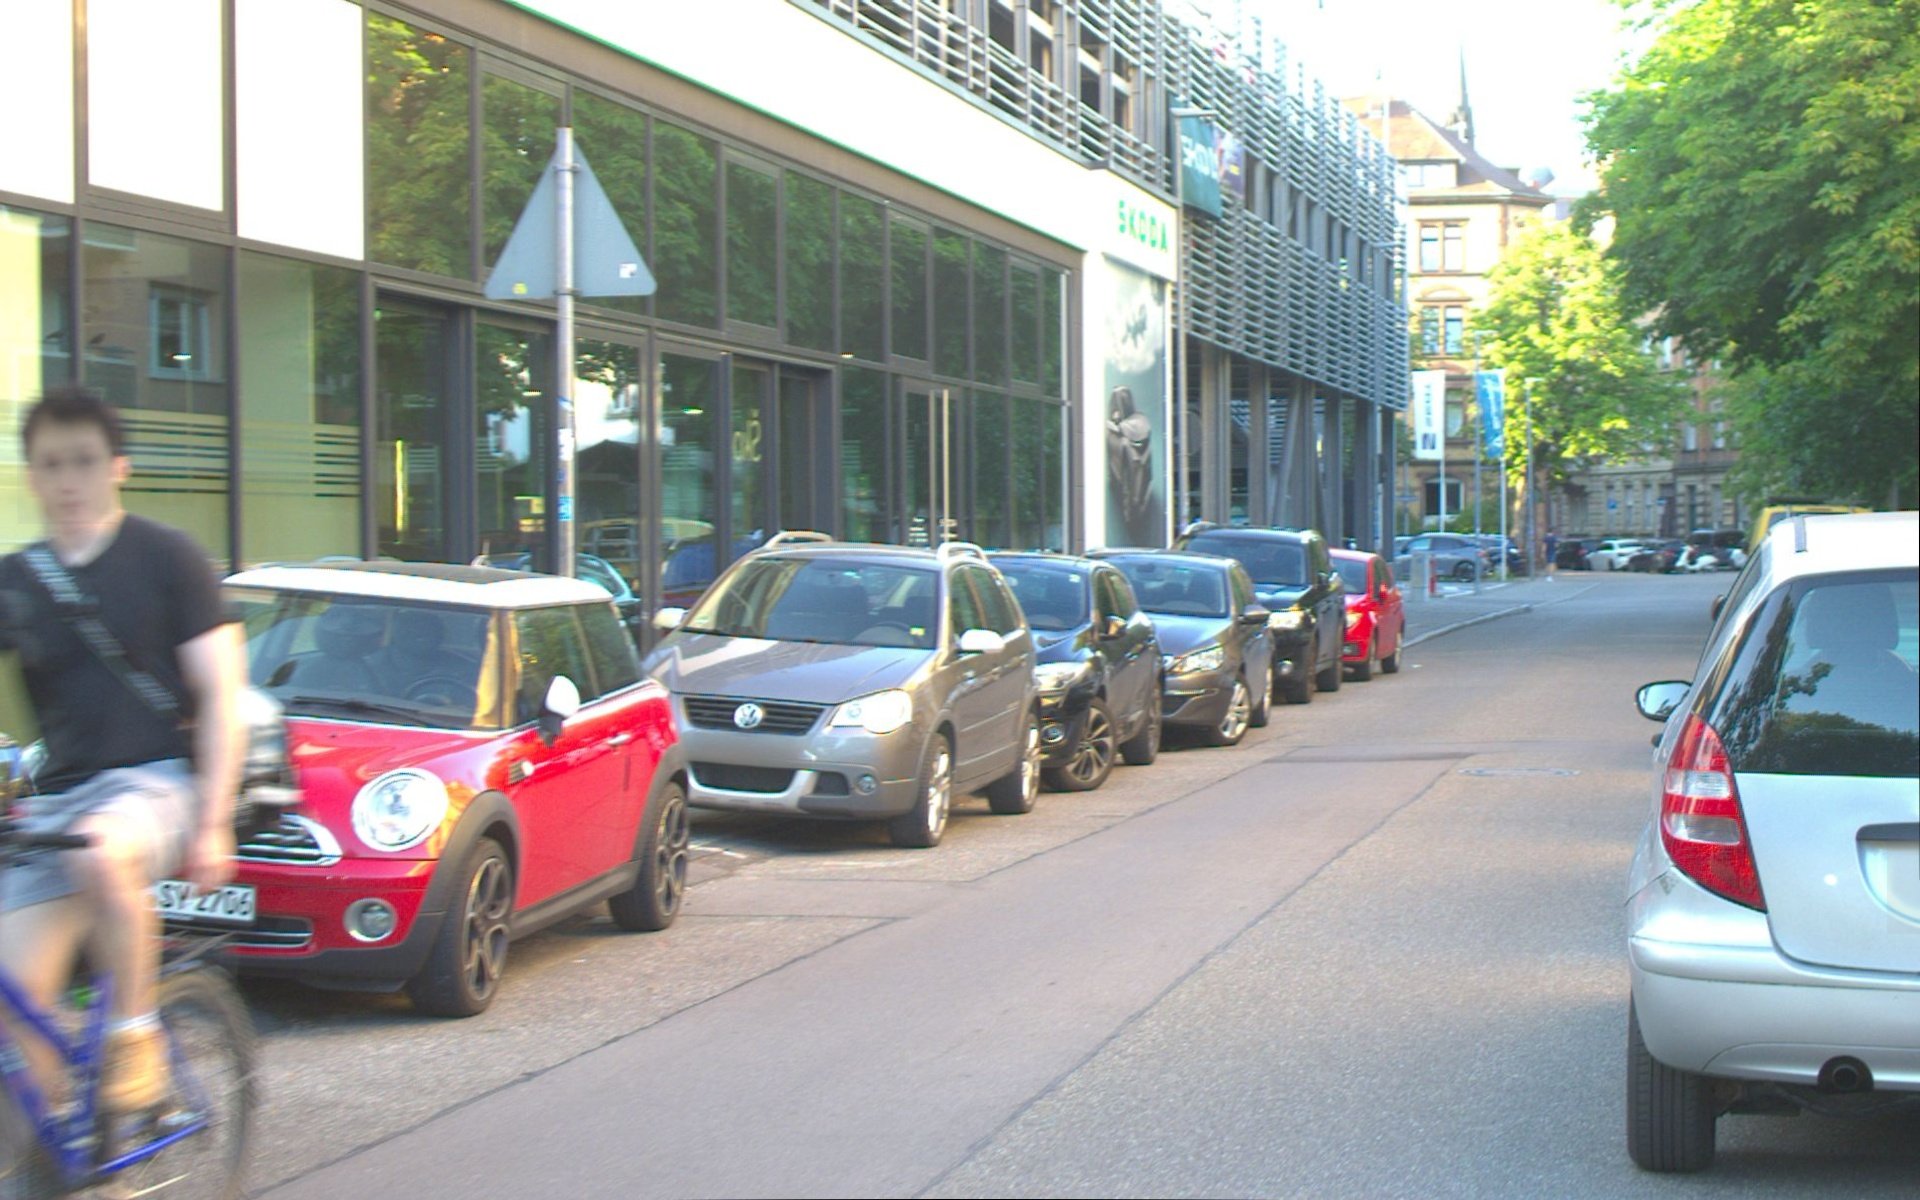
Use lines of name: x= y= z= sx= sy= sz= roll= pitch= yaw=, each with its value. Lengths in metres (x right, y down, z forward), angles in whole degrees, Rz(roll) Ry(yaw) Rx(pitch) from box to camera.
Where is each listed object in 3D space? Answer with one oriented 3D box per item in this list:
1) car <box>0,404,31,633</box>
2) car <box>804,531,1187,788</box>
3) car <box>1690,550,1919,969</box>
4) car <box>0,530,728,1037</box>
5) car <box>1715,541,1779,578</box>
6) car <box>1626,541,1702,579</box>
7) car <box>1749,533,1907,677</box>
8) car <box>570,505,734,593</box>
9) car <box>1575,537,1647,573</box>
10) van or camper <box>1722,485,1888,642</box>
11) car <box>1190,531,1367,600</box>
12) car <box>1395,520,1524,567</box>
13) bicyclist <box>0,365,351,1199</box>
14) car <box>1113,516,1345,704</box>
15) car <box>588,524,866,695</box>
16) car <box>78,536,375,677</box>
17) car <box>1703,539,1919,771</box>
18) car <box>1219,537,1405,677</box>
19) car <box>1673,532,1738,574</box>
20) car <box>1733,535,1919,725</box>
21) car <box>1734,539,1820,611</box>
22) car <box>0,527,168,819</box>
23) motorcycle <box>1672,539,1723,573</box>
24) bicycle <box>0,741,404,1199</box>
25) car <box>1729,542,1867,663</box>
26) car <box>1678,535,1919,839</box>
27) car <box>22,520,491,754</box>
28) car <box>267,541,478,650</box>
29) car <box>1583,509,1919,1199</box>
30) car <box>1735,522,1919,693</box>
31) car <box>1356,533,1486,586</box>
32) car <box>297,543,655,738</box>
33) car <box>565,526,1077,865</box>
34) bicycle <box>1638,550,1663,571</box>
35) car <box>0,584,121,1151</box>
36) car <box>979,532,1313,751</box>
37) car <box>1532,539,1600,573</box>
car: x=-8.056 y=-0.547 z=23.571 sx=1.698 sy=1.653 sz=3.736 roll=0 pitch=1 yaw=13
car: x=0.338 y=0.321 z=23.074 sx=1.729 sy=1.398 sz=4.005 roll=5 pitch=2 yaw=11
car: x=3.859 y=0.529 z=13.930 sx=1.718 sy=1.414 sz=4.025 roll=0 pitch=1 yaw=13
car: x=-2.167 y=0.524 z=12.676 sx=1.662 sy=1.406 sz=3.926 roll=5 pitch=2 yaw=9
car: x=33.357 y=-1.727 z=145.740 sx=1.674 sy=1.520 sz=2.768 roll=0 pitch=2 yaw=-11
car: x=29.015 y=-1.659 z=141.804 sx=1.654 sy=1.426 sz=3.991 roll=0 pitch=2 yaw=-11
car: x=9.661 y=0.028 z=38.431 sx=1.610 sy=1.505 sz=3.476 roll=0 pitch=1 yaw=13
car: x=-4.617 y=-0.794 z=52.016 sx=1.420 sy=1.250 sz=3.525 roll=0 pitch=2 yaw=13
car: x=27.709 y=-1.908 z=146.453 sx=1.654 sy=1.426 sz=4.168 roll=0 pitch=2 yaw=-9
van or camper: x=11.874 y=-0.564 z=48.571 sx=2.065 sy=2.088 sz=5.088 roll=0 pitch=2 yaw=12
car: x=7.534 y=-0.807 z=81.071 sx=3.989 sy=1.580 sz=1.859 roll=0 pitch=-1 yaw=11
car: x=19.189 y=-2.189 z=132.193 sx=4.830 sy=1.726 sz=1.920 roll=1 pitch=2 yaw=7
bicyclist: x=-1.803 y=0.465 z=6.794 sx=0.859 sy=1.802 sz=1.016 roll=-1 pitch=2 yaw=10
car: x=2.759 y=0.049 z=34.405 sx=1.698 sy=1.750 sz=4.401 roll=0 pitch=1 yaw=13
car: x=-2.352 y=0.051 z=35.835 sx=1.698 sy=1.653 sz=4.407 roll=0 pitch=1 yaw=13
car: x=-7.971 y=0.040 z=37.733 sx=1.698 sy=1.429 sz=3.918 roll=0 pitch=1 yaw=13
car: x=6.085 y=0.308 z=23.793 sx=1.810 sy=1.412 sz=4.623 roll=0 pitch=1 yaw=13
car: x=4.107 y=0.048 z=39.658 sx=1.698 sy=1.501 sz=3.789 roll=0 pitch=1 yaw=13
car: x=32.412 y=-2.035 z=149.511 sx=1.674 sy=1.776 sz=3.016 roll=0 pitch=2 yaw=-11
car: x=7.369 y=0.203 z=29.041 sx=1.610 sy=1.456 sz=4.052 roll=0 pitch=1 yaw=13
car: x=17.606 y=-0.564 z=74.179 sx=1.760 sy=1.437 sz=4.003 roll=0 pitch=2 yaw=13
car: x=-6.173 y=0.419 z=19.840 sx=1.594 sy=1.644 sz=3.874 roll=0 pitch=1 yaw=12
motorcycle: x=29.631 y=-1.778 z=138.105 sx=1.932 sy=1.336 sz=0.577 roll=0 pitch=2 yaw=3
bicycle: x=-1.778 y=0.895 z=6.865 sx=0.759 sy=1.093 sz=1.864 roll=-2 pitch=1 yaw=8
car: x=10.596 y=-0.001 z=43.414 sx=1.607 sy=1.377 sz=3.998 roll=0 pitch=2 yaw=14
car: x=4.783 y=0.381 z=18.260 sx=1.810 sy=1.412 sz=3.894 roll=0 pitch=1 yaw=13
car: x=-4.895 y=0.199 z=24.533 sx=1.698 sy=1.509 sz=4.190 roll=0 pitch=1 yaw=13
car: x=-7.227 y=-0.080 z=42.529 sx=1.420 sy=1.250 sz=3.212 roll=0 pitch=2 yaw=13
car: x=2.690 y=0.539 z=9.322 sx=1.810 sy=1.570 sz=3.883 roll=0 pitch=1 yaw=13
car: x=8.571 y=0.030 z=33.864 sx=1.792 sy=1.557 sz=4.191 roll=0 pitch=1 yaw=13
car: x=15.254 y=-1.357 z=113.695 sx=4.131 sy=1.612 sz=1.912 roll=2 pitch=2 yaw=11
car: x=-4.052 y=0.297 z=29.424 sx=1.698 sy=1.509 sz=3.991 roll=0 pitch=1 yaw=13
car: x=-0.628 y=0.417 z=18.599 sx=1.663 sy=1.492 sz=3.882 roll=5 pitch=2 yaw=13
bicycle: x=27.391 y=-1.561 z=136.382 sx=0.425 sy=0.819 sz=1.459 roll=1 pitch=2 yaw=35
car: x=-3.554 y=0.672 z=7.216 sx=1.662 sy=1.411 sz=4.412 roll=5 pitch=2 yaw=12
car: x=1.612 y=0.272 z=28.148 sx=1.938 sy=1.591 sz=4.202 roll=0 pitch=2 yaw=14
car: x=26.640 y=-1.951 z=151.230 sx=1.654 sy=1.426 sz=3.897 roll=0 pitch=2 yaw=-11
